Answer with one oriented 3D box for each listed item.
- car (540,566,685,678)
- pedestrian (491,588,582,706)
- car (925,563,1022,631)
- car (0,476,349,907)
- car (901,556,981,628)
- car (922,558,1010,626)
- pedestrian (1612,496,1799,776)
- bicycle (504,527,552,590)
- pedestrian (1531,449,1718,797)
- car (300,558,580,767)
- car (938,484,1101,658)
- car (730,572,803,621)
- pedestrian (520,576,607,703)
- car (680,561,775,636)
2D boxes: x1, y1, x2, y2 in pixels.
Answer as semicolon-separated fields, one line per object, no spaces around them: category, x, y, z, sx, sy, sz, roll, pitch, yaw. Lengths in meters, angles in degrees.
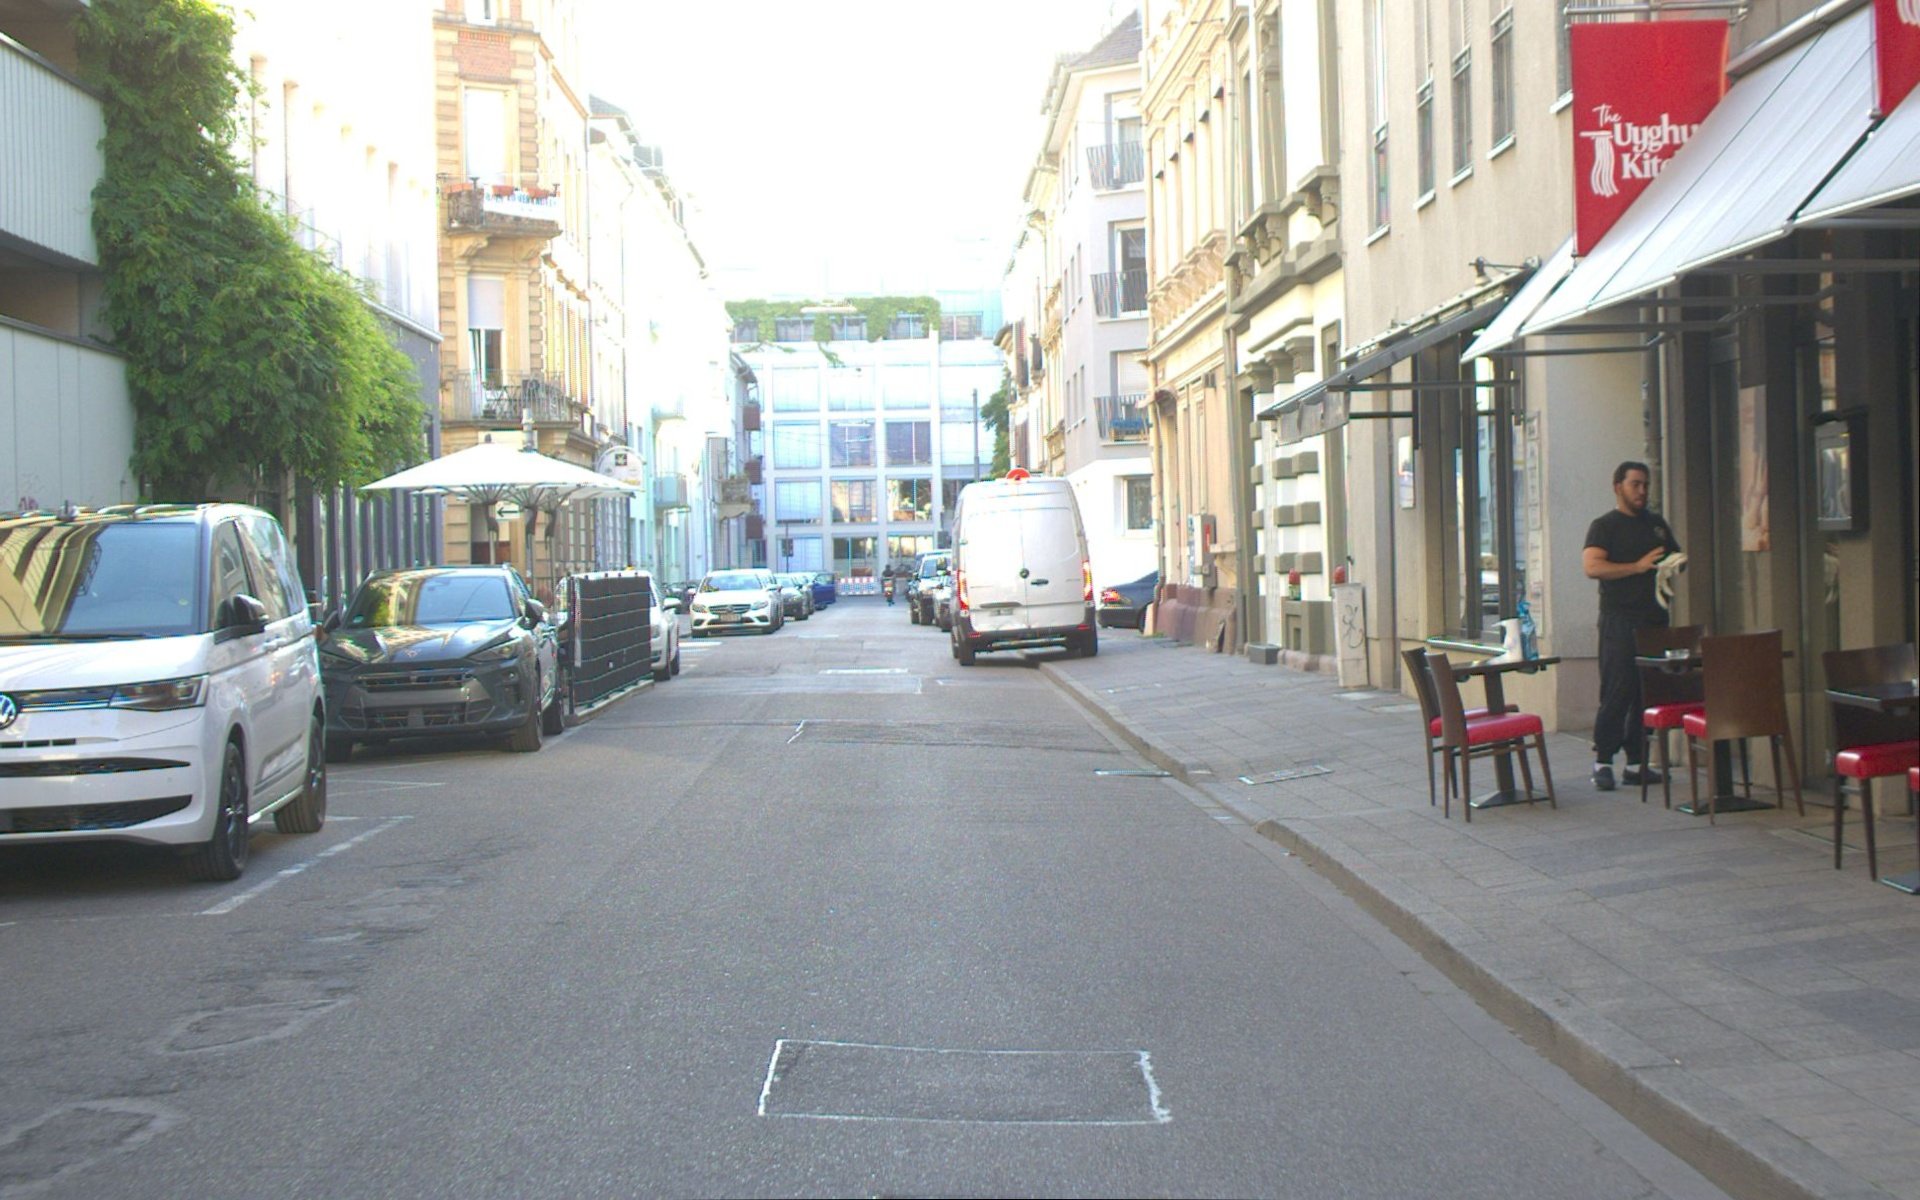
car;-4.639;0.272;46.301;1.657;1.409;3.882;-1;0;-2
pedestrian;-4.300;0.475;34.915;0.553;1.162;0.740;-1;1;31
car;0.280;-0.089;76.573;1.938;1.367;3.789;-3;1;-2
car;-4.577;0.419;18.181;1.993;1.933;4.851;-3;1;-3
car;-0.509;-0.224;88.053;1.893;1.778;4.000;-1;1;-2
car;0.116;-0.215;82.641;1.963;1.552;3.889;-1;1;-2
pedestrian;4.135;0.188;19.106;0.825;1.480;0.661;-3;3;-2
bicycle;-6.360;-0.613;50.637;0.596;0.902;1.644;-1;1;-4
pedestrian;3.559;0.118;18.457;0.728;1.786;0.660;-4;1;-2
car;-4.422;0.475;29.896;1.881;1.563;4.771;-4;1;-3
car;0.843;-0.445;52.025;2.277;2.431;6.203;-1;1;0
car;-5.629;-0.107;100.496;1.993;1.350;4.429;-1;1;-2
pedestrian;-4.138;0.401;35.905;0.781;1.282;0.915;-1;1;-1
car;-5.211;-0.055;77.594;1.993;1.559;4.507;-3;1;-3
